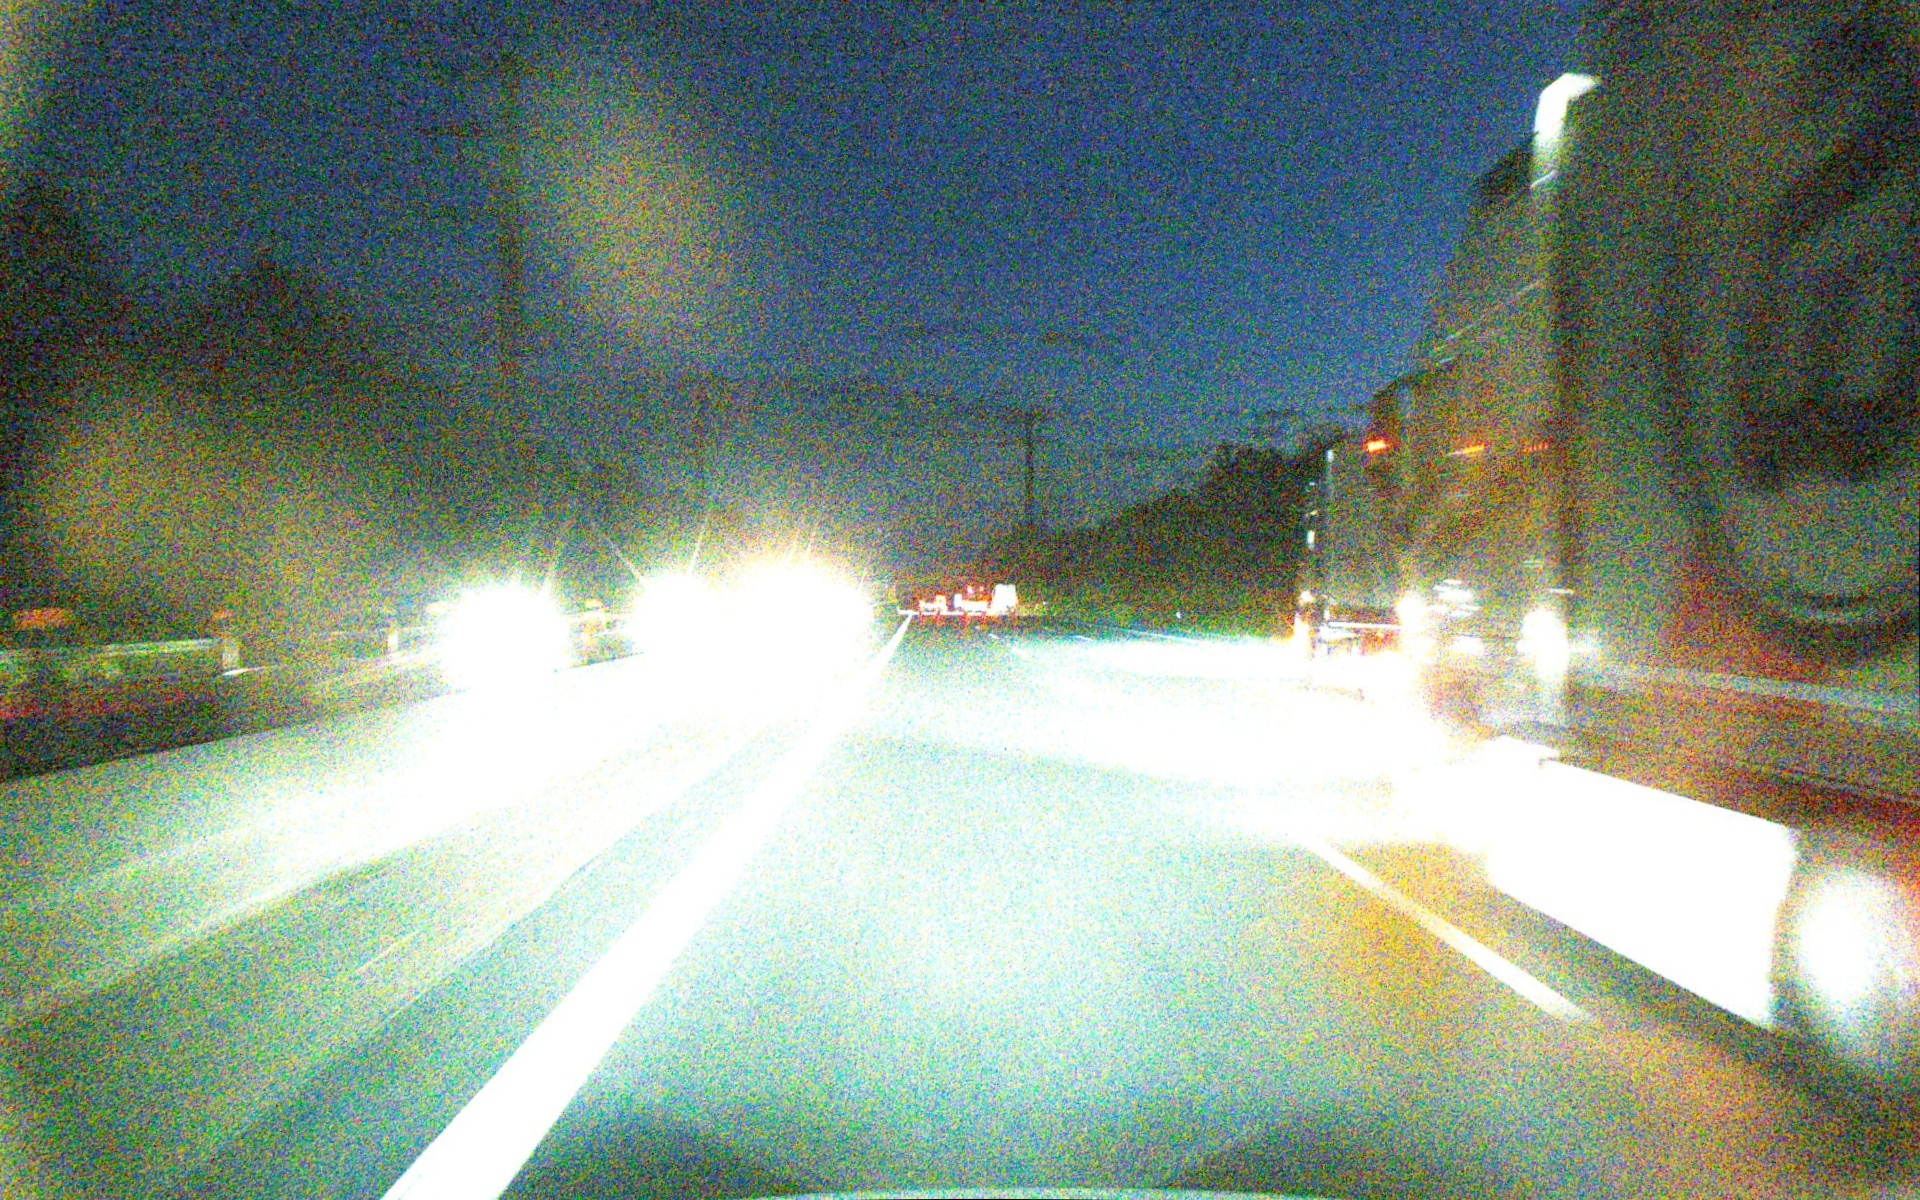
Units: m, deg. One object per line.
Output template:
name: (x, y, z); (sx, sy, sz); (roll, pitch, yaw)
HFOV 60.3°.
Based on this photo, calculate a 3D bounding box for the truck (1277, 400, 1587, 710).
truck: (7.159, -0.618, 26.336); (2.538, 4.143, 7.671); (2, 0, -1)

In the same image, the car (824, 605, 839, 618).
car: (-16.174, 1.446, 208.162); (1.715, 1.504, 4.580); (-2, 0, -3)

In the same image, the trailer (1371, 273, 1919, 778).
trailer: (7.311, -0.611, 18.775); (2.538, 4.143, 10.006); (2, 0, -1)

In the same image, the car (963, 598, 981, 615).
car: (0.995, 0.519, 140.539); (1.319, 1.411, 3.500); (2, 0, -2)

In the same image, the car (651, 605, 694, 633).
car: (-15.494, 1.019, 89.262); (1.599, 1.419, 4.875); (-2, 0, -2)

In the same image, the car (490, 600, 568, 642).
car: (-15.089, 0.699, 58.097); (1.628, 1.357, 4.807); (-2, 0, -3)

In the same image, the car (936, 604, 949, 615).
car: (-2.560, 1.340, 239.280); (1.784, 1.492, 4.246); (2, 0, -2)

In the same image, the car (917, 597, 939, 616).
car: (-2.684, 0.537, 138.362); (1.784, 1.492, 4.246); (2, 0, -2)

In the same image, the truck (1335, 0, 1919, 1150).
truck: (3.863, -0.639, 7.481); (2.608, 4.280, 6.721); (2, 0, -1)

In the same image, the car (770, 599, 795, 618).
car: (-14.481, 0.704, 135.012); (1.715, 1.504, 4.580); (-2, 0, -3)

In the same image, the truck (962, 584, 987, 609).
truck: (1.944, -0.499, 230.367); (2.983, 3.383, 10.138); (2, 0, -2)

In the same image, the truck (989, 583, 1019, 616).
truck: (3.977, 0.010, 150.000); (2.035, 2.738, 7.301); (2, -2, -4)

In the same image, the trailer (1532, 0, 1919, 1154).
trailer: (4.013, -0.625, 0.528); (2.686, 4.280, 13.507); (2, 0, -1)
